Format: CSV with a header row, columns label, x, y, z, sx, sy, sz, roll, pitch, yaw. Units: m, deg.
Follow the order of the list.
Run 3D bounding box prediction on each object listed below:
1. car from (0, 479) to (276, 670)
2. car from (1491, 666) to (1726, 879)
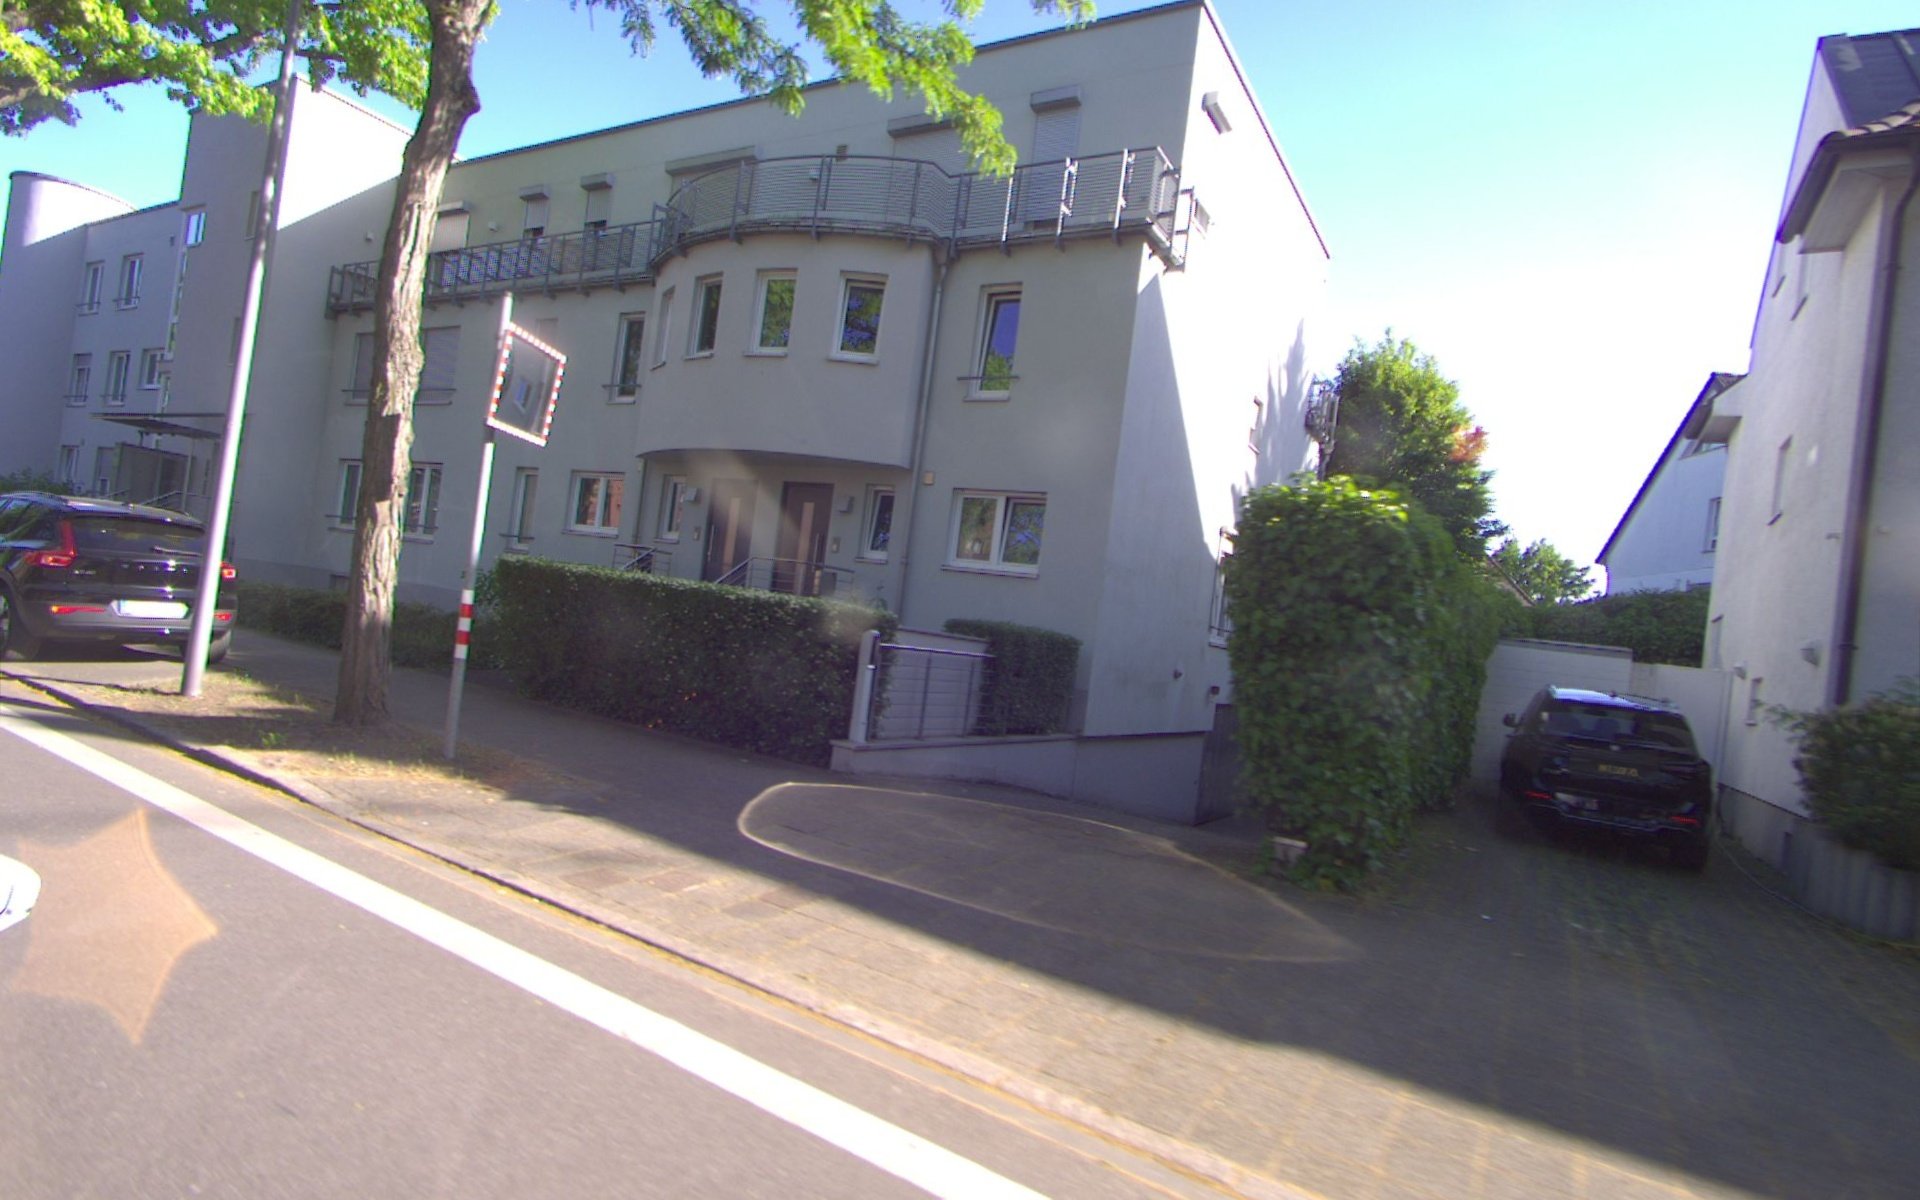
label,x,y,z,sx,sy,sz,roll,pitch,yaw
car,-9.722,-0.373,11.006,4.319,1.696,2.005,7,1,31
car,7.183,1.767,11.333,1.718,1.725,3.993,7,-1,32
